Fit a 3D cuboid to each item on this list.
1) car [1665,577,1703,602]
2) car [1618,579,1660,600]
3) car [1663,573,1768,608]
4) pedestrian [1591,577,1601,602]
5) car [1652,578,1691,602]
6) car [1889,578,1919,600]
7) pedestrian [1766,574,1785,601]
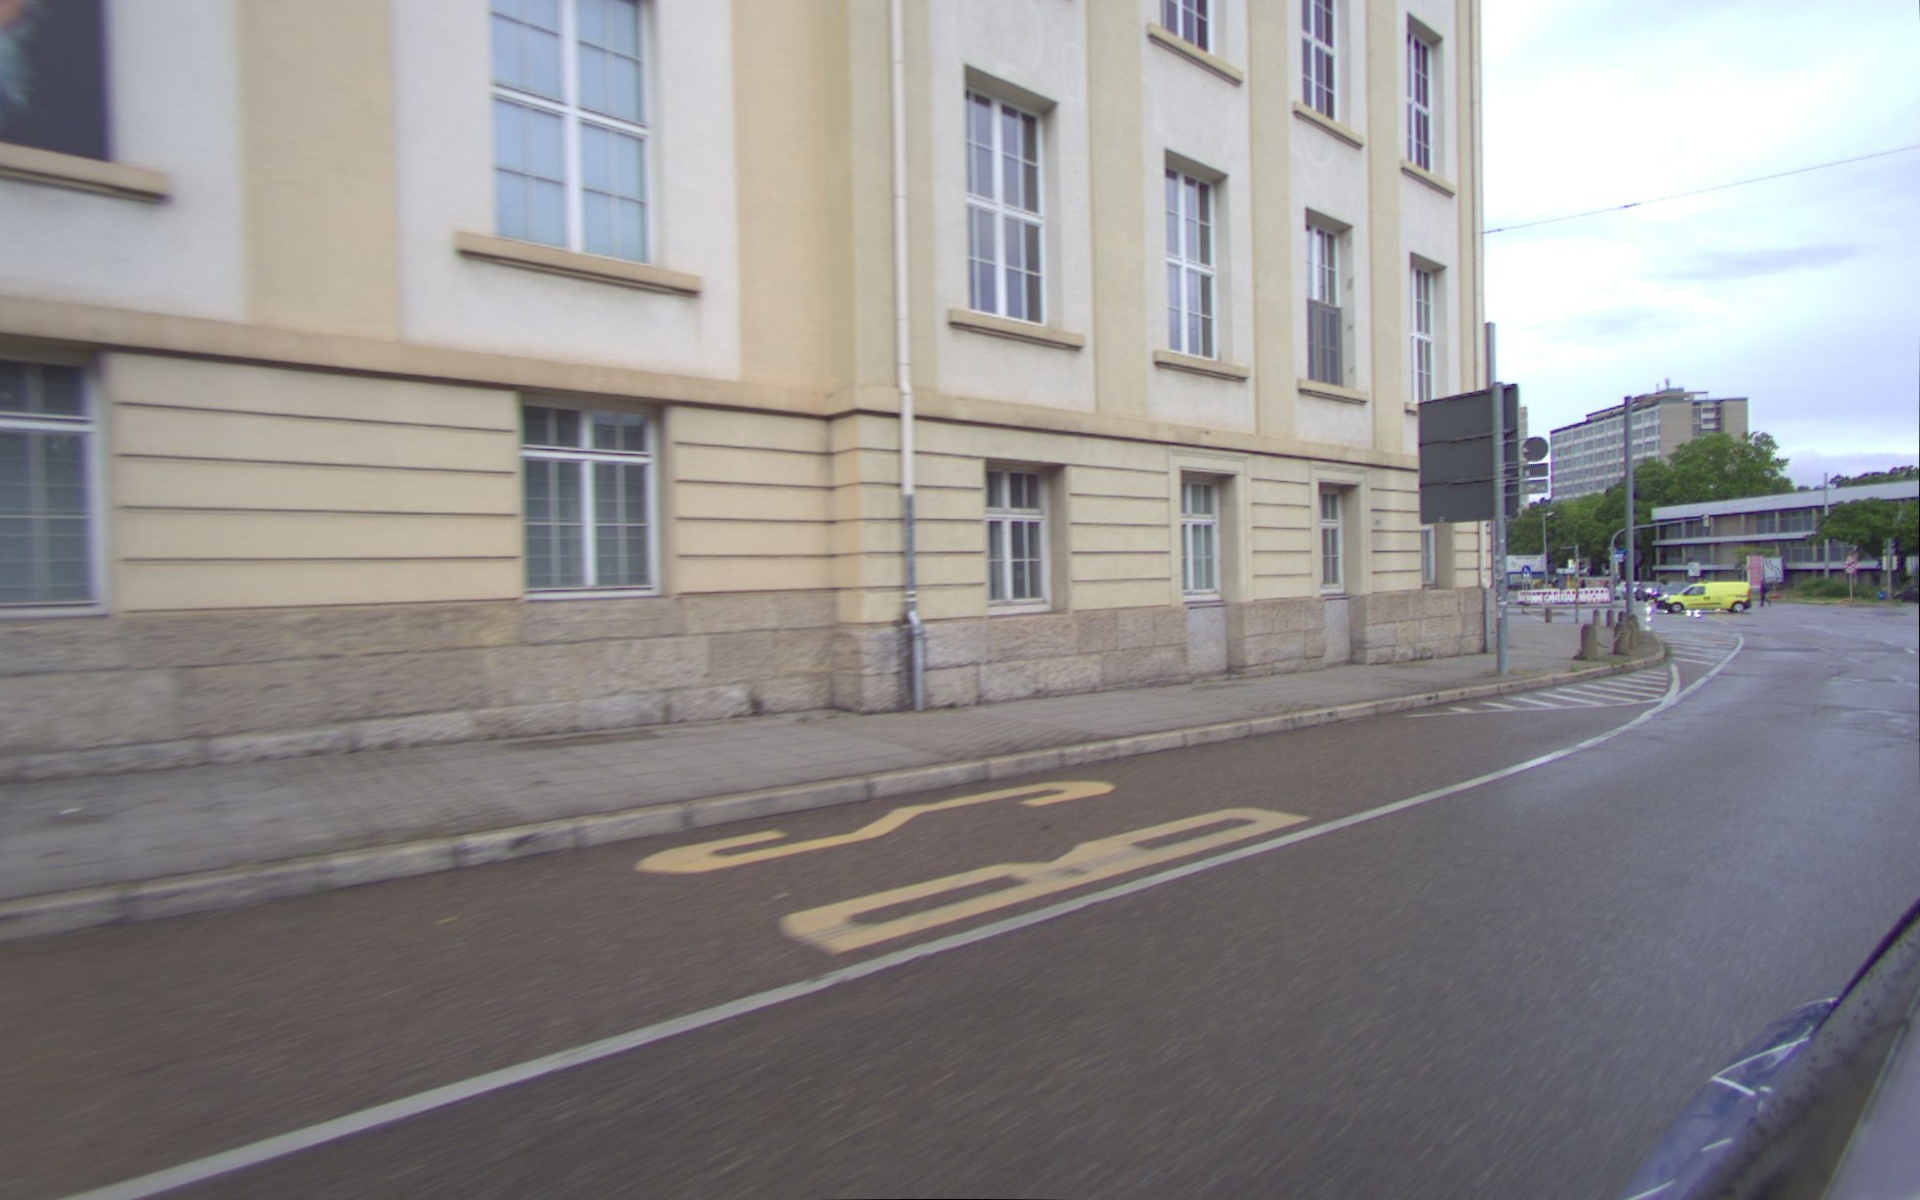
[{"bbox_3d":[56.442,-0.800,78.949,1.867,1.892,4.305,0,1,28],"label":"car"},{"bbox_3d":[62.453,-0.993,93.173,2.050,1.935,4.536,0,1,19],"label":"car"},{"bbox_3d":[45.898,-0.598,61.631,4.777,2.032,2.103,1,1,28],"label":"car"},{"bbox_3d":[52.252,-0.874,83.123,0.636,2.039,0.590,0,0,26],"label":"pedestrian"},{"bbox_3d":[59.565,-0.830,84.805,2.058,1.935,4.518,0,1,28],"label":"car"},{"bbox_3d":[72.126,-0.825,75.404,1.889,1.694,3.848,0,1,-24],"label":"car"},{"bbox_3d":[55.581,-0.855,68.994,0.900,1.819,0.533,-2,-1,45],"label":"pedestrian"}]
